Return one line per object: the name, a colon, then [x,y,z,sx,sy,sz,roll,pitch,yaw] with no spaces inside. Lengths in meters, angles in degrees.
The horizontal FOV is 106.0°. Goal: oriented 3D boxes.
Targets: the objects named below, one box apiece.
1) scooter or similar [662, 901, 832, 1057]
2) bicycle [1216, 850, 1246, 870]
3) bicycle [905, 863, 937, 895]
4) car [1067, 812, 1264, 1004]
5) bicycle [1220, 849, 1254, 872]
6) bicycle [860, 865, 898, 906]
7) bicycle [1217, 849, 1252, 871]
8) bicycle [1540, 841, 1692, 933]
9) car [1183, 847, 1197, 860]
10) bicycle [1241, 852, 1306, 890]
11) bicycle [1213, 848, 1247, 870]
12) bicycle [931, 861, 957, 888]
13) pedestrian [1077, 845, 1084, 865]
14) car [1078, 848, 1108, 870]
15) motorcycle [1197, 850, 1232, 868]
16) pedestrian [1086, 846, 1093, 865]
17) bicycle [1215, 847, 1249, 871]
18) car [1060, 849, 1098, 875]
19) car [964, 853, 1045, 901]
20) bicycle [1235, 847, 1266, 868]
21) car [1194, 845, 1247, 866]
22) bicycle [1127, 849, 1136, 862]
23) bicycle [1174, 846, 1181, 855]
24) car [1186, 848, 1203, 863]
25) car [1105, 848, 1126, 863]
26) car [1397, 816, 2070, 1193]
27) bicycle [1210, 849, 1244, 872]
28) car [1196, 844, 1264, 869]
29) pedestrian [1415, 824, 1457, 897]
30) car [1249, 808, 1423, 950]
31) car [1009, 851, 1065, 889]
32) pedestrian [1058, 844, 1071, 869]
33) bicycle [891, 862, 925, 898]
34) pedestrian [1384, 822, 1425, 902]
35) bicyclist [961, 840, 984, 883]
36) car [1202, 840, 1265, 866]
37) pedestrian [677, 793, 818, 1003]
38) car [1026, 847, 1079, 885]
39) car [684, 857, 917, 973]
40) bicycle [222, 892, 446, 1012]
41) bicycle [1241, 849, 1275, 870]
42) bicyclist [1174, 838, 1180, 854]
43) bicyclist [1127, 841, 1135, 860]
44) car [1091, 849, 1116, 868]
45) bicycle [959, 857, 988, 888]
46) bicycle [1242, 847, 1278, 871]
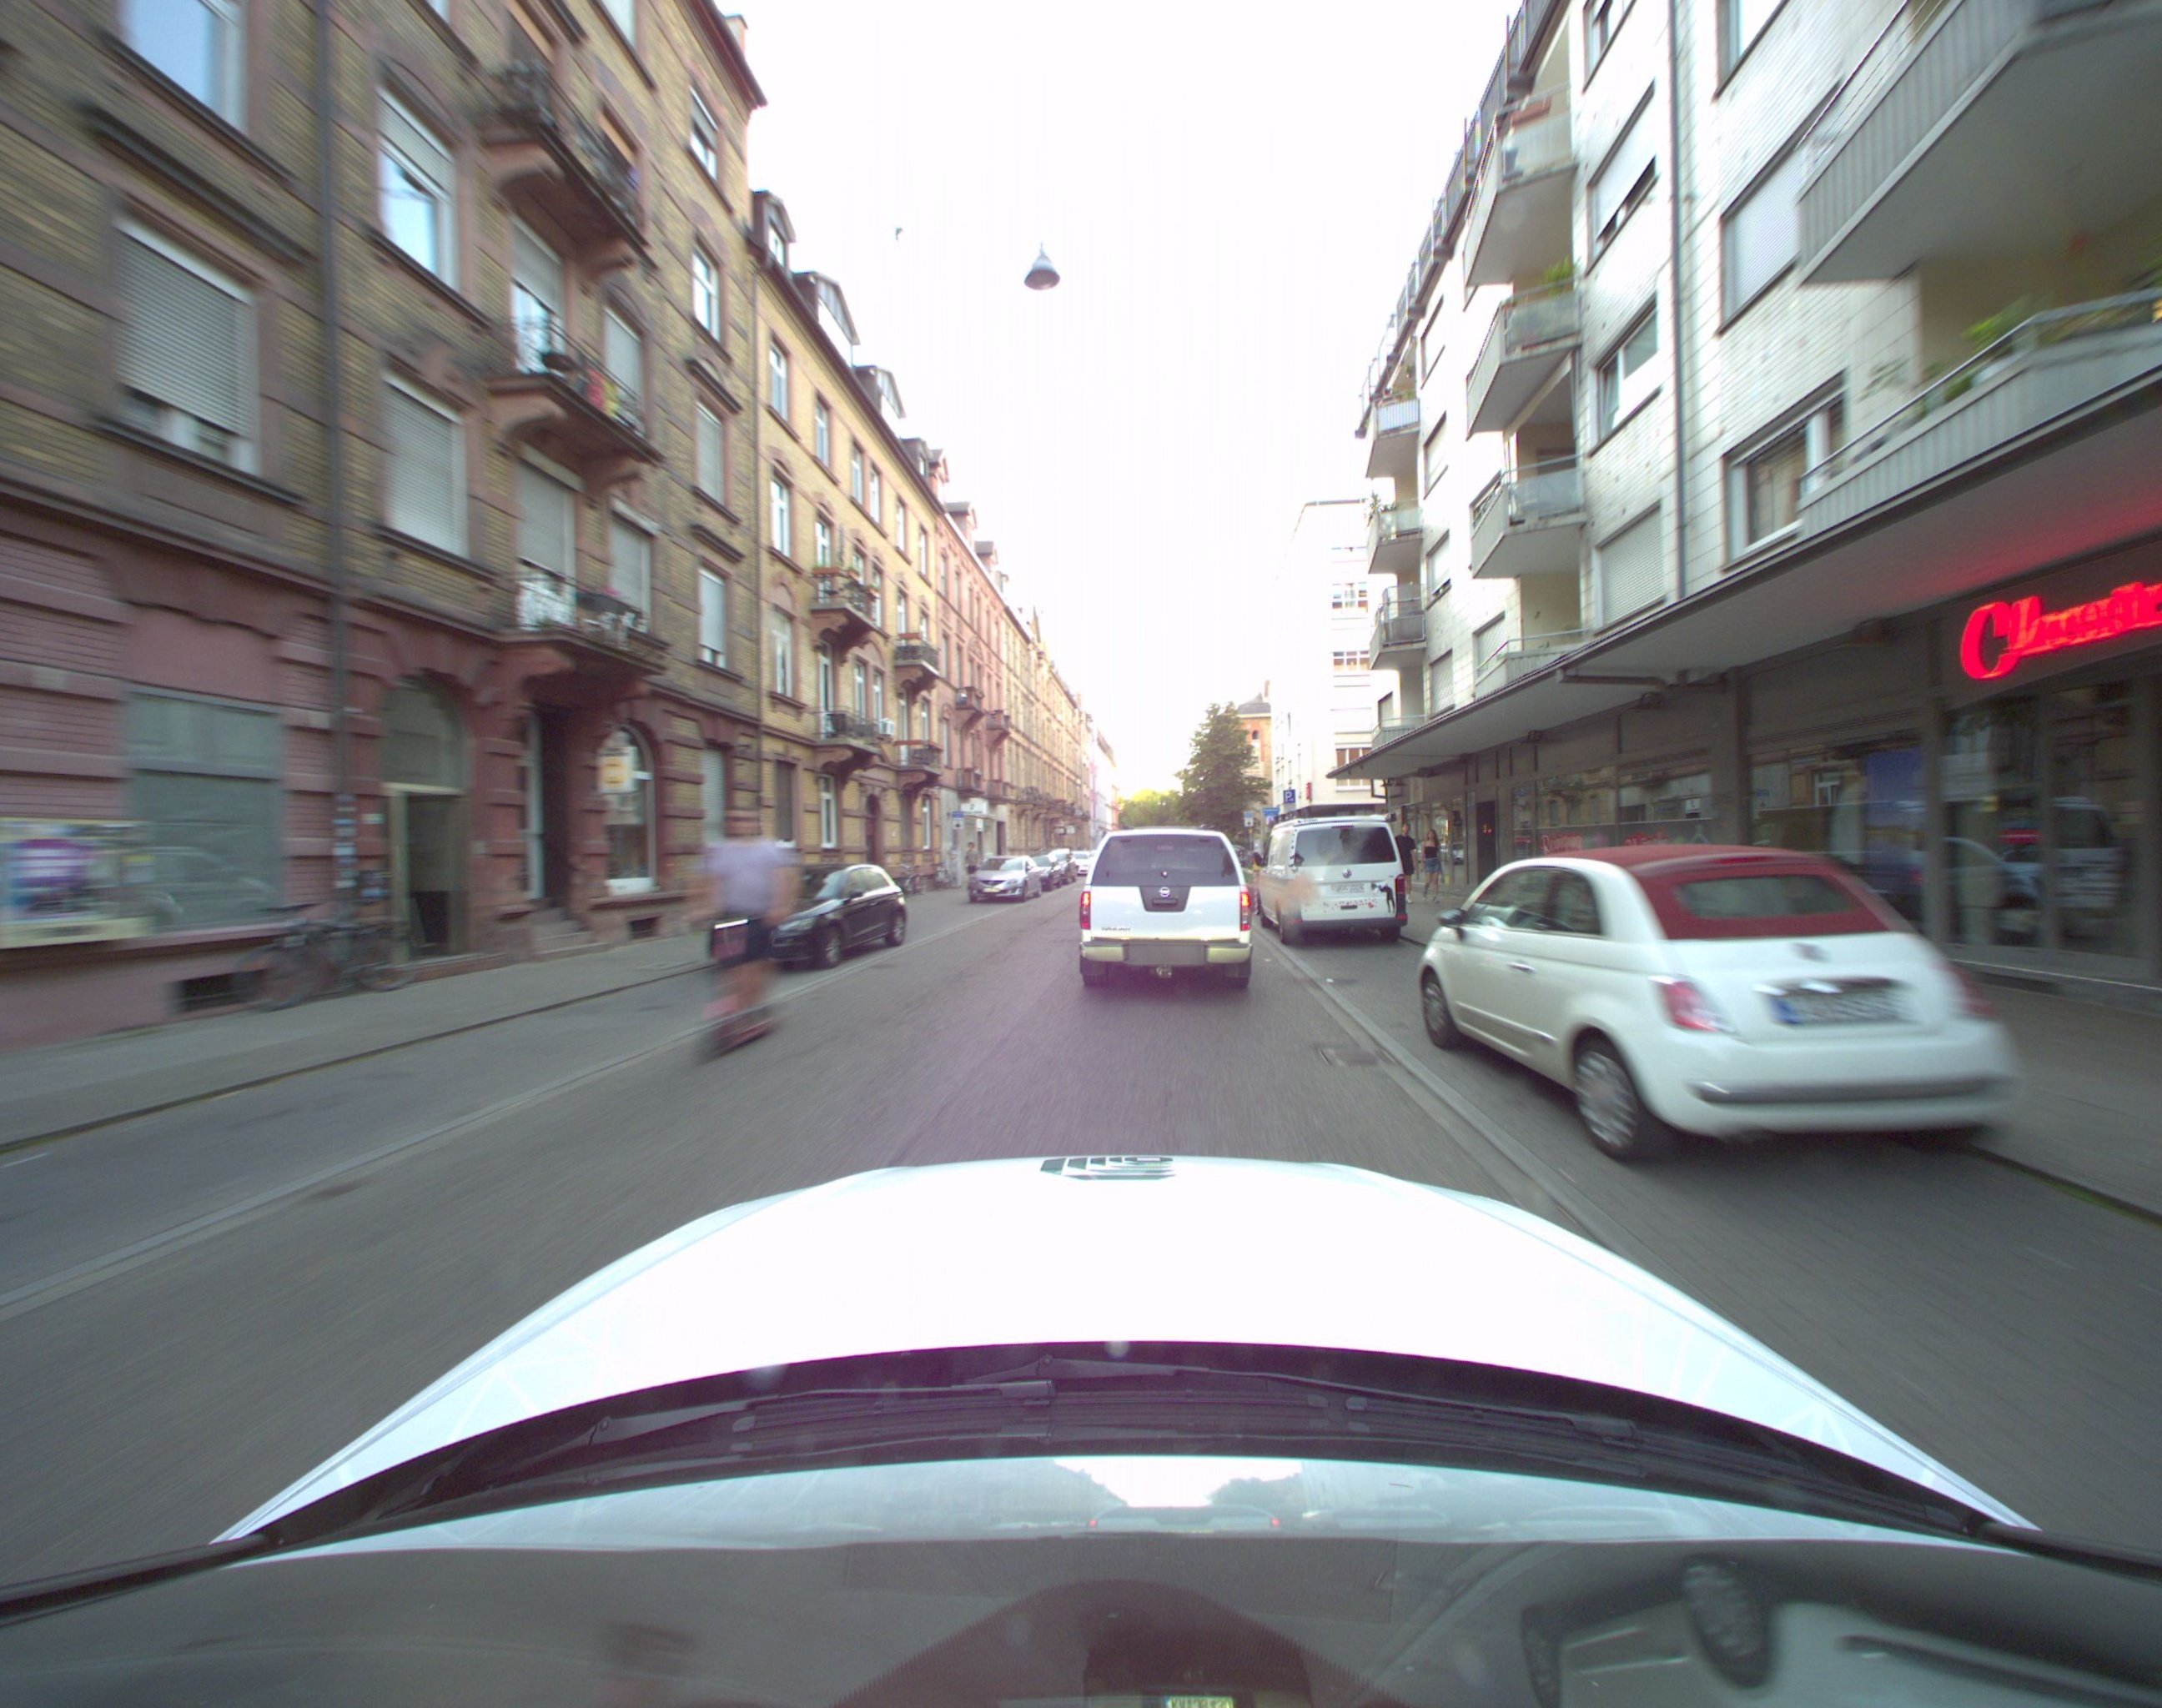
scooter or similar: [-2.751,0.996,6.840,0.803,1.104,1.174,-2,0,7]
bicycle: [9.146,0.363,49.660,1.709,1.031,0.669,-5,-1,9]
bicycle: [-5.608,0.860,28.666,0.546,1.037,1.763,1,1,7]
car: [1.192,0.477,10.586,1.900,1.853,5.283,1,1,8]
bicycle: [8.379,0.342,43.670,1.712,1.118,0.709,-3,-1,9]
bicycle: [-5.971,0.911,24.163,0.736,1.123,1.610,0,1,0]
bicycle: [8.554,0.356,45.314,1.801,1.118,0.708,-3,-1,4]
bicycle: [7.720,0.455,11.864,0.909,1.195,1.707,-3,-1,-7]
car: [14.258,-0.091,106.641,1.667,1.501,3.910,-4,0,8]
bicycle: [6.230,0.560,26.462,1.920,1.134,0.661,-4,-1,43]
bicycle: [8.841,0.301,48.312,1.857,1.182,0.745,-5,-1,11]
bicycle: [-5.386,0.792,32.079,0.447,1.022,1.851,2,1,7]
pedestrian: [-0.017,0.101,75.905,0.577,1.771,0.998,1,1,2]
car: [0.908,0.348,58.094,1.707,1.457,4.009,0,1,7]
motorcycle: [8.749,0.309,53.409,2.057,1.078,0.661,-3,-1,-10]
pedestrian: [0.799,0.116,76.073,0.603,1.772,0.778,1,1,2]
bicycle: [8.813,0.290,47.466,1.774,1.182,0.737,-5,-1,16]
car: [-0.048,0.457,48.596,1.749,1.411,4.517,0,1,6]
car: [-2.395,0.675,26.517,1.714,1.420,4.590,0,0,6]
bicycle: [10.048,0.211,48.337,1.715,1.118,0.654,-3,-1,3]
car: [11.141,0.123,65.286,3.969,1.456,1.830,-3,0,4]
bicycle: [4.527,0.129,73.174,0.642,1.081,2.170,-3,0,3]
bicycle: [10.915,-0.396,92.452,0.642,1.081,1.834,-3,0,5]
car: [12.536,0.165,90.063,1.667,1.429,4.487,-5,0,7]
car: [3.415,0.126,80.198,1.728,1.418,4.786,0,0,6]
car: [3.369,0.631,5.112,1.585,1.501,3.427,-3,0,4]
bicycle: [7.978,0.361,44.578,1.714,1.118,0.708,-3,-1,4]
car: [10.476,0.160,57.365,4.408,1.455,1.779,-3,0,0]
pedestrian: [8.352,0.152,19.180,0.703,1.665,0.747,-3,-1,13]
car: [4.223,0.335,14.372,1.948,1.973,5.012,-3,0,7]
car: [-1.713,0.604,32.823,1.576,1.420,3.704,0,1,7]
pedestrian: [-1.146,0.167,57.904,0.549,1.755,1.028,-1,-1,22]
bicycle: [-5.776,0.860,27.271,0.546,1.123,1.763,1,1,7]
pedestrian: [7.682,0.189,19.359,0.703,1.828,0.864,-3,-1,13]
bicyclist: [-4.364,0.300,32.834,0.711,1.729,0.836,0,-1,-24]
car: [11.195,-0.063,60.075,4.377,1.647,1.749,-3,0,5]
pedestrian: [-2.774,0.353,6.838,0.803,1.660,0.674,-2,0,6]
car: [-1.272,0.501,38.049,1.843,1.633,4.454,0,1,6]
car: [-4.006,0.784,12.367,1.683,1.420,3.864,0,1,9]
bicycle: [-7.951,0.986,8.801,0.423,1.053,1.903,-1,0,10]
bicycle: [9.607,0.292,44.150,1.712,1.054,0.655,-3,-1,9]
bicyclist: [10.876,-0.921,92.415,0.642,1.760,0.649,-3,0,4]
bicyclist: [4.507,-0.311,73.187,0.642,1.621,0.919,-3,0,2]
car: [1.875,0.340,65.871,1.775,1.422,4.491,1,0,5]
bicycle: [-4.350,0.752,32.800,0.711,1.196,1.728,0,-1,-23]
bicycle: [9.455,0.259,43.133,1.720,1.131,0.577,-3,-1,-6]
